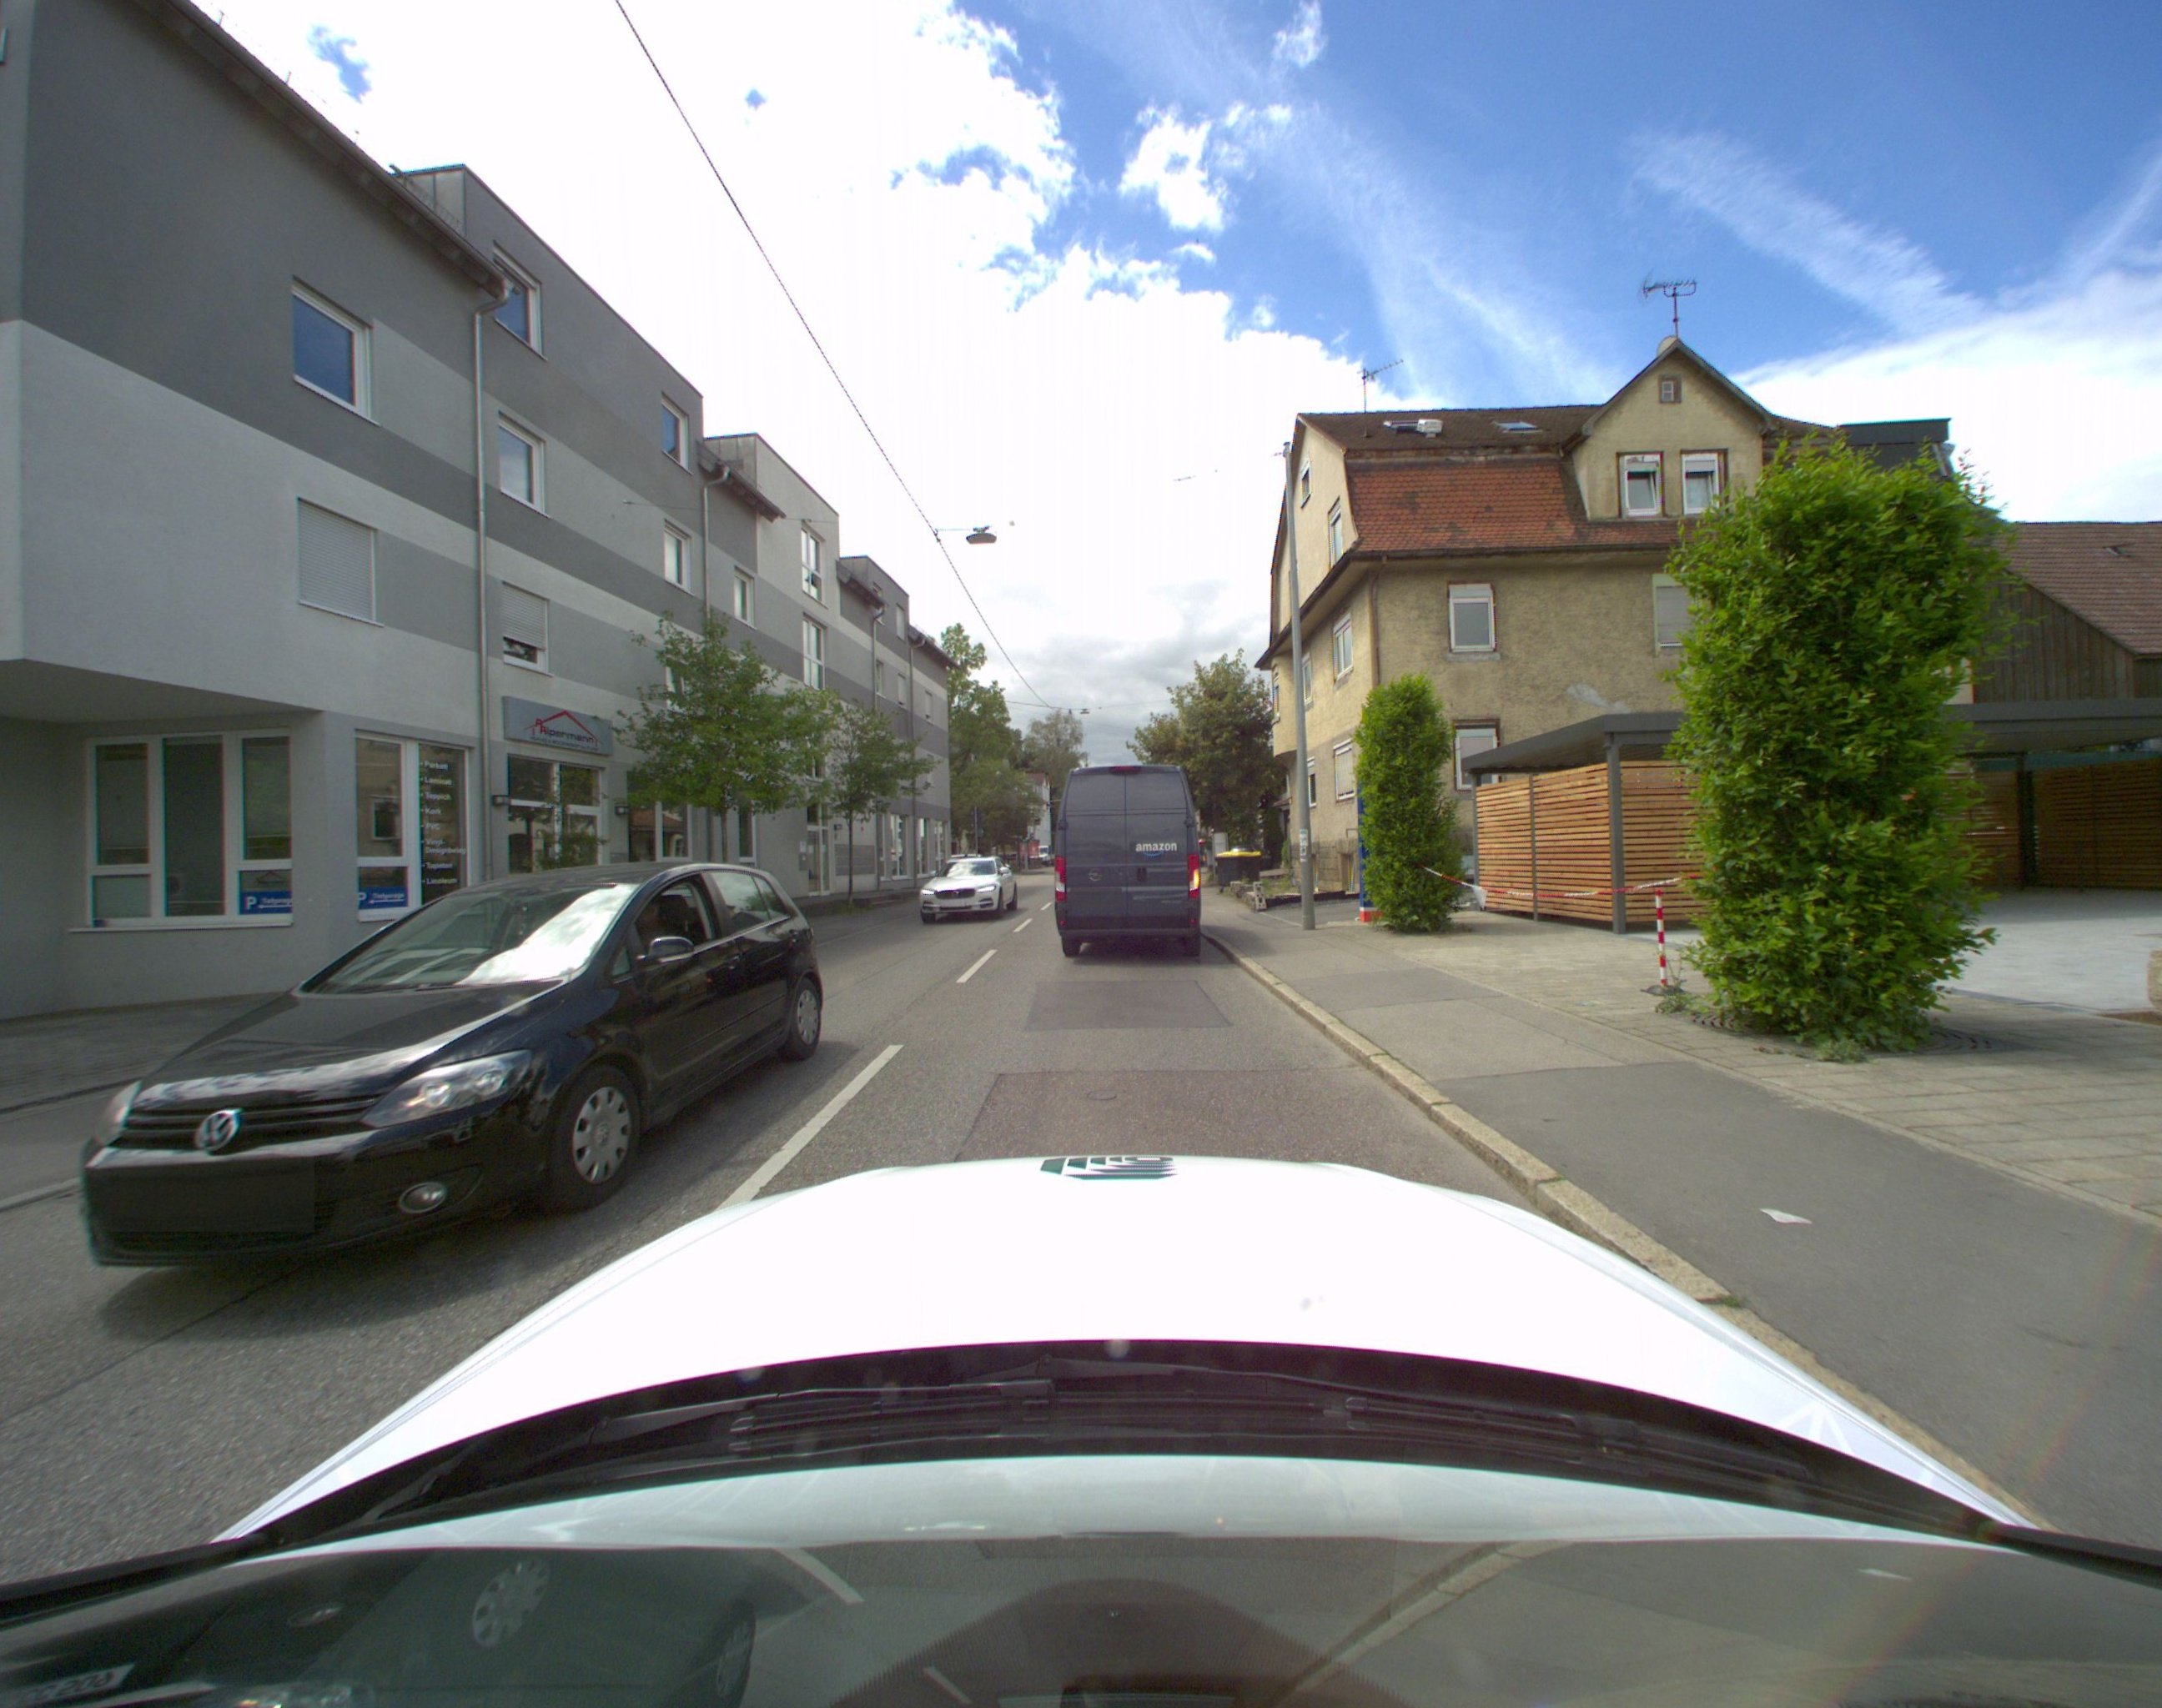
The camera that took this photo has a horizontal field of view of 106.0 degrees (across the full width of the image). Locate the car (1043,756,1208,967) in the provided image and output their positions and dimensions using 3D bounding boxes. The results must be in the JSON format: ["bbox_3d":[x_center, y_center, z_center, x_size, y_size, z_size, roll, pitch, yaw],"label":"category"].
[{"bbox_3d":[0.894,0.098,14.007,2.137,2.770,6.259,-1,0,6],"label":"car"}]

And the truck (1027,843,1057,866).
[{"bbox_3d":[-4.164,0.052,89.035,2.213,2.380,6.337,-1,0,7],"label":"truck"}]

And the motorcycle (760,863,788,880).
[{"bbox_3d":[-19.232,1.103,51.098,1.201,1.004,2.332,-1,0,-9],"label":"motorcycle"}]

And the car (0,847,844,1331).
[{"bbox_3d":[-2.999,0.814,4.853,1.825,1.584,4.038,-4,0,1],"label":"car"}]

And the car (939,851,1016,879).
[{"bbox_3d":[-6.075,0.639,47.916,4.194,1.513,1.824,-1,1,3],"label":"car"}]

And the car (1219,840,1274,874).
[{"bbox_3d":[9.115,0.121,44.646,1.735,1.517,4.104,-5,0,28],"label":"car"}]

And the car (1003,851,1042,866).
[{"bbox_3d":[-5.858,0.447,81.700,3.681,1.425,1.805,-1,0,0],"label":"car"}]

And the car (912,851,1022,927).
[{"bbox_3d":[-2.765,0.784,20.839,1.890,1.559,4.802,-4,0,2],"label":"car"}]

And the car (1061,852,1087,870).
[{"bbox_3d":[-0.570,0.587,69.642,1.866,1.424,4.119,-1,0,3],"label":"car"}]

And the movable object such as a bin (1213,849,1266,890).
[{"bbox_3d":[5.162,0.490,26.537,1.189,1.266,1.198,-1,0,-28],"label":"movable object such as a bin"}]
